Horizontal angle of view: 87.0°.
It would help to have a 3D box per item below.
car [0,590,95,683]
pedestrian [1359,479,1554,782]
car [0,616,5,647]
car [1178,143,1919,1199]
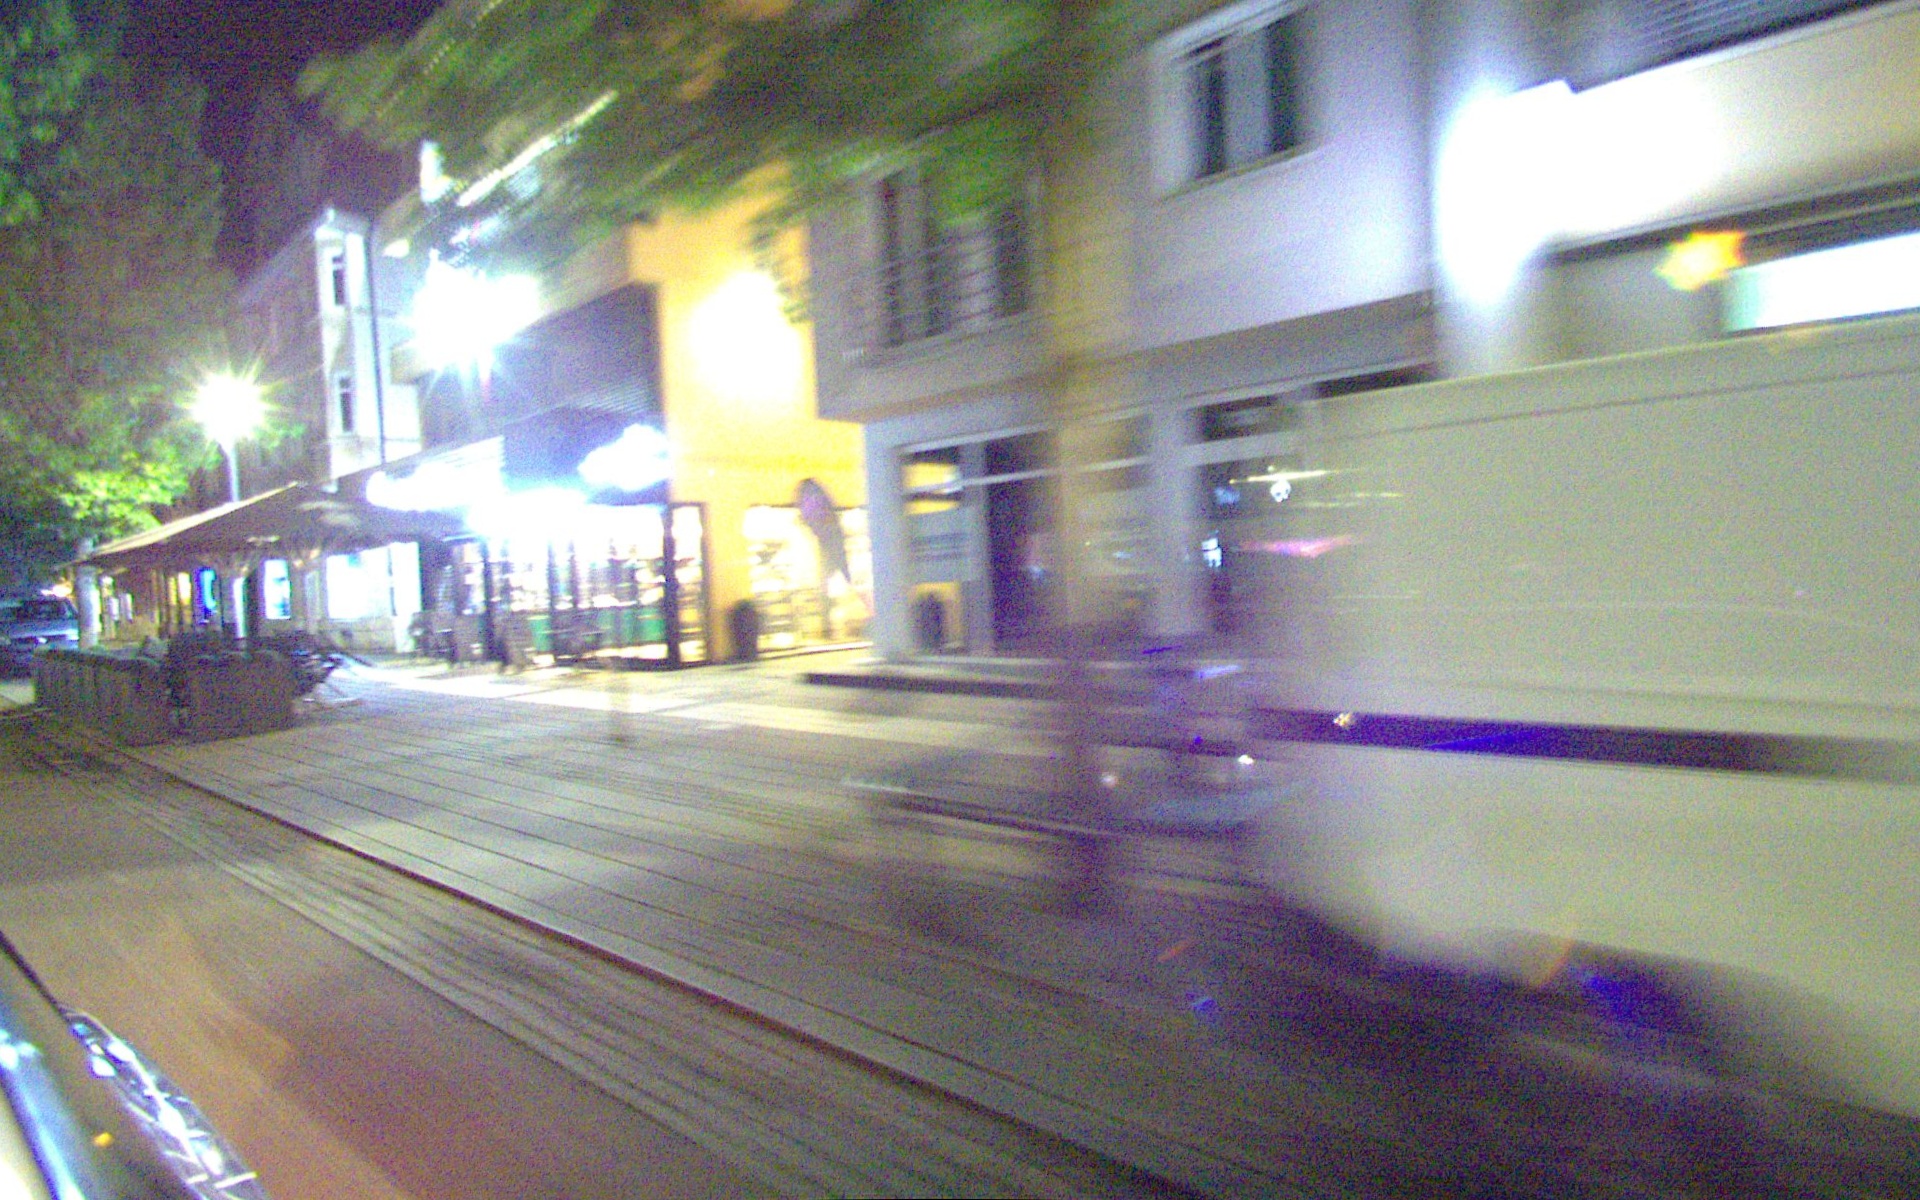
[{"bbox_3d":[-23.021,0.876,24.884,5.075,1.979,1.905,-2,3,42],"label":"car"},{"bbox_3d":[3.098,0.172,6.328,0.908,1.732,0.661,-2,1,43],"label":"pedestrian"},{"bbox_3d":[-49.866,1.641,51.325,4.000,1.516,1.772,-1,1,43],"label":"car"},{"bbox_3d":[3.137,0.219,1.636,5.082,2.102,1.836,-2,3,38],"label":"car"}]
